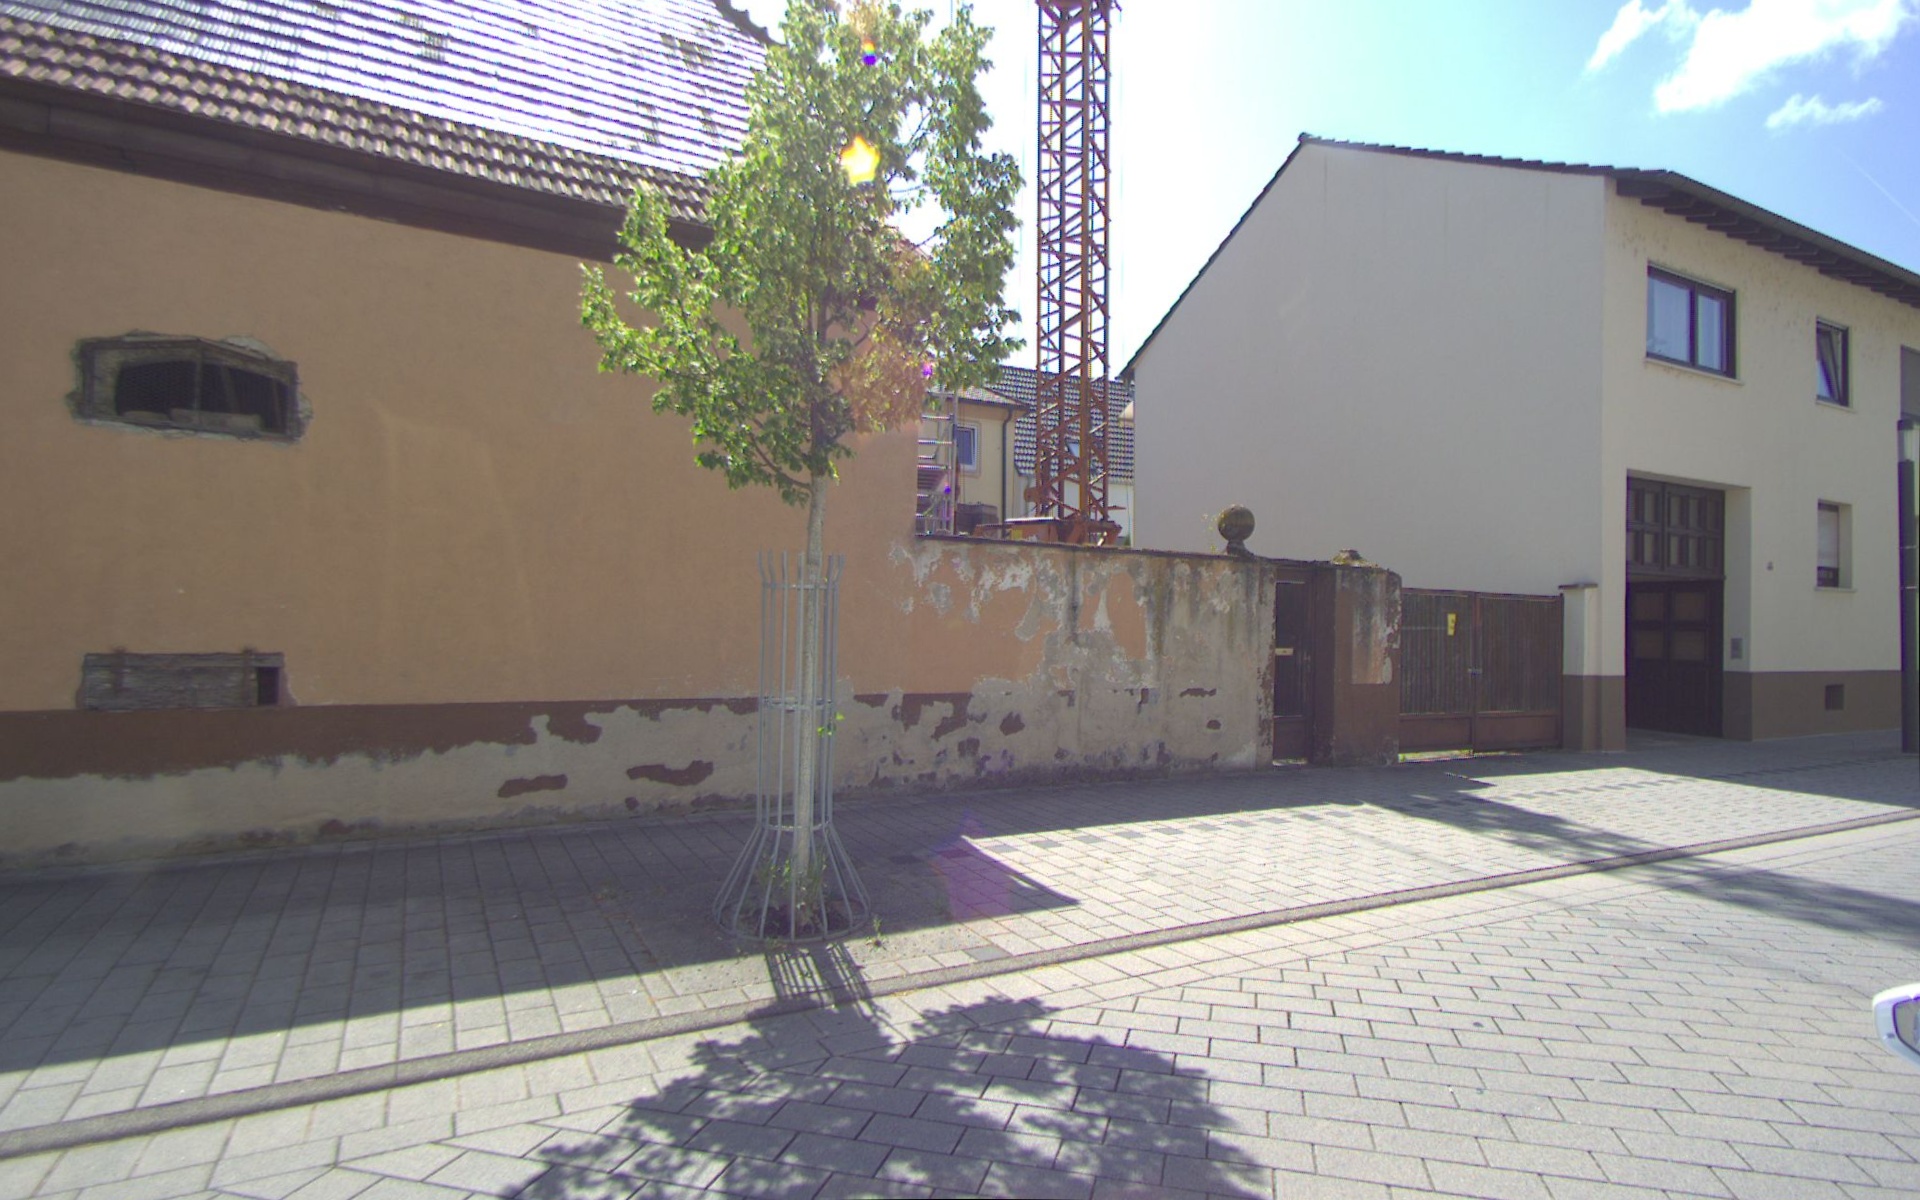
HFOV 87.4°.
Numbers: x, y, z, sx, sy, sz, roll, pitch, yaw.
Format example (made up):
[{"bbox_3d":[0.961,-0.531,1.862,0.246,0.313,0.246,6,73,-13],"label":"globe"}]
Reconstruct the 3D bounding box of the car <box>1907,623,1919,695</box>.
[{"bbox_3d":[24.207,1.457,22.343,1.762,1.680,4.201,2,0,-28],"label":"car"}]
